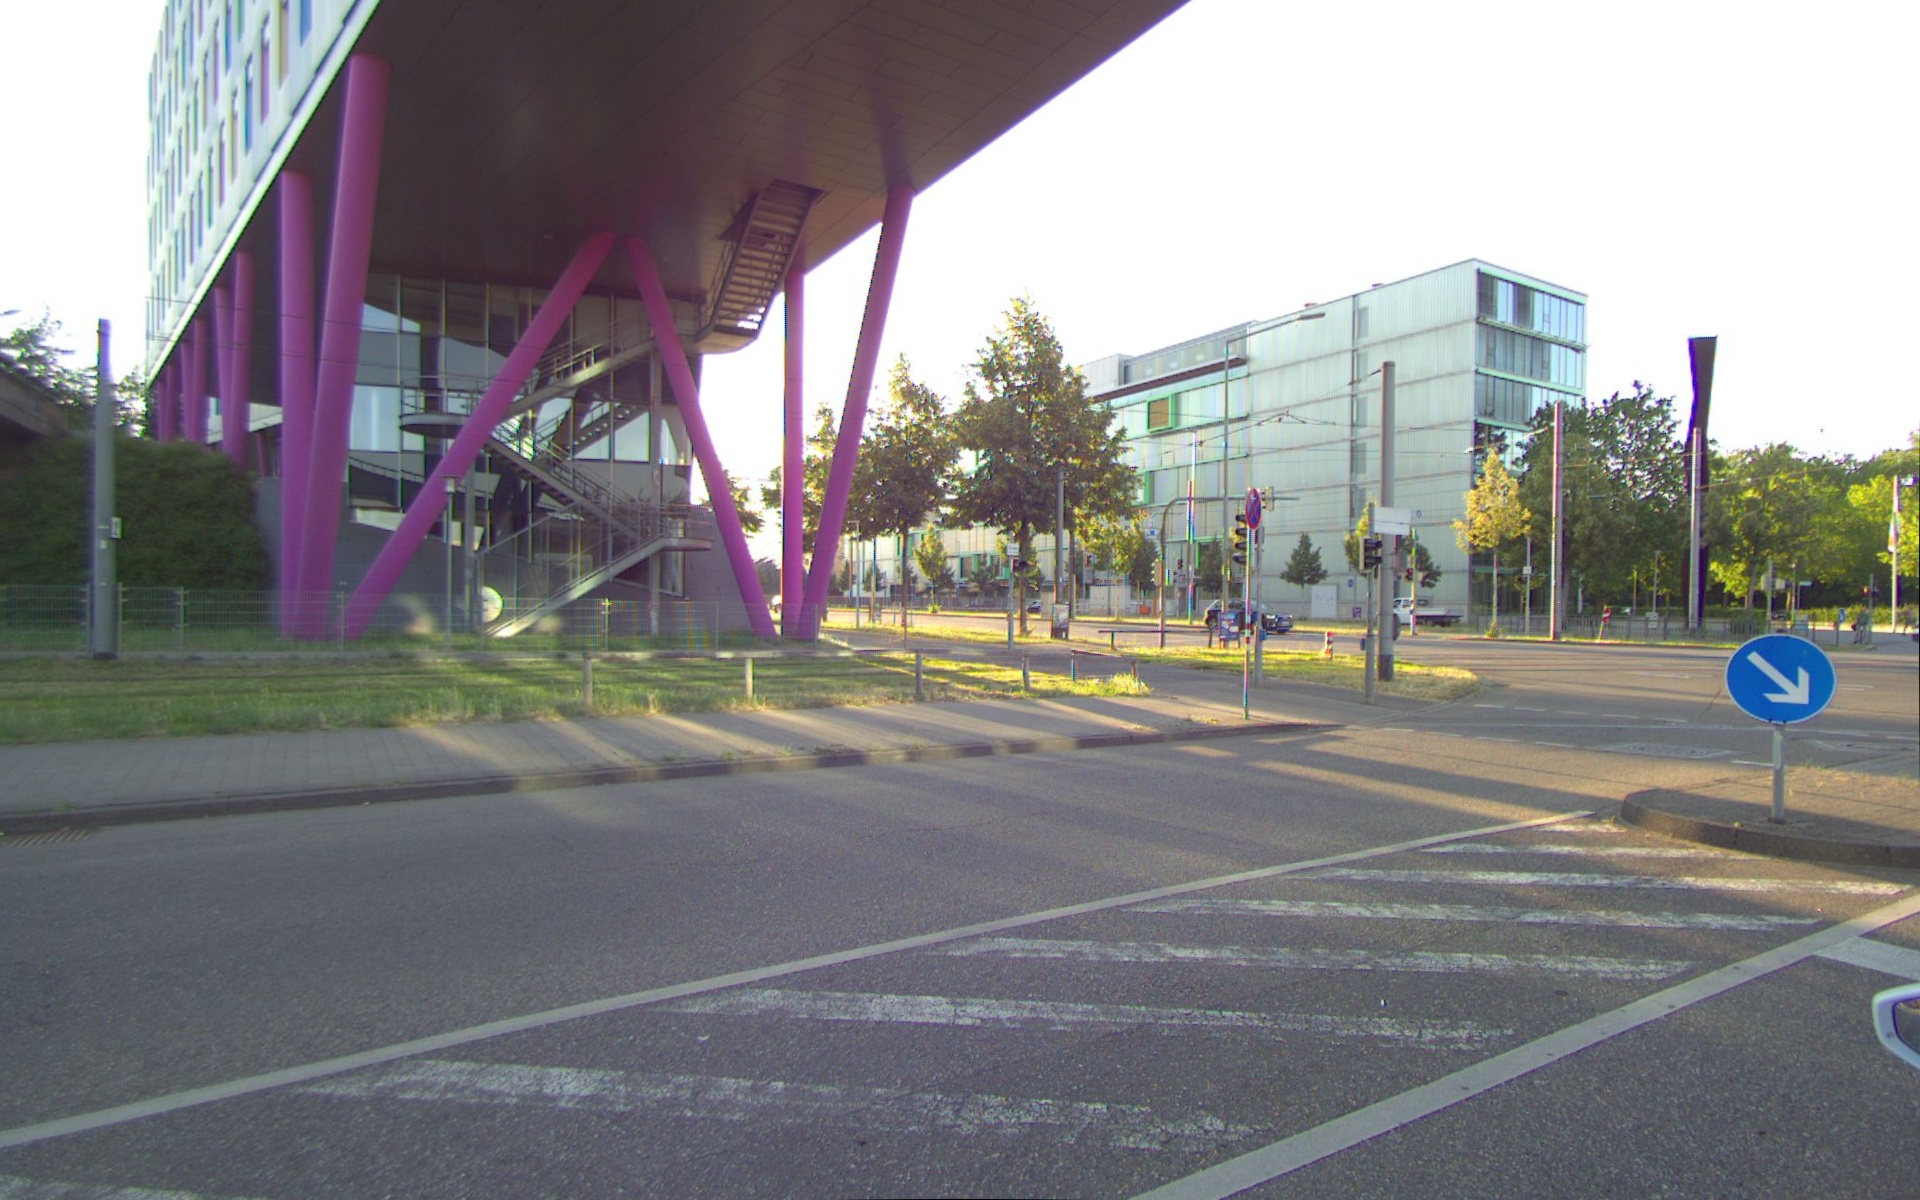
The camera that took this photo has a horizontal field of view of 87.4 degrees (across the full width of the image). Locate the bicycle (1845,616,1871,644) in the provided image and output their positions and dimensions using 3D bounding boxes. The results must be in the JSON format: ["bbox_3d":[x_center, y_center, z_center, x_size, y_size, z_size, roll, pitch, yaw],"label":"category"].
[{"bbox_3d":[45.110,1.502,50.481,0.720,1.359,2.681,1,0,36],"label":"bicycle"}]

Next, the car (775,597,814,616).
[{"bbox_3d":[-14.339,0.560,86.831,1.973,1.572,5.210,2,-1,-24],"label":"car"}]

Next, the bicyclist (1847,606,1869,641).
[{"bbox_3d":[45.095,1.186,50.467,0.741,1.732,0.916,1,0,38],"label":"bicyclist"}]

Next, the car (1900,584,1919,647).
[{"bbox_3d":[43.561,0.719,41.117,2.778,2.671,6.887,2,-1,-29],"label":"car"}]

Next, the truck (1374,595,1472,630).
[{"bbox_3d":[29.779,0.774,64.784,2.044,2.082,5.528,1,0,-31],"label":"truck"}]

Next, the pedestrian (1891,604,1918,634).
[{"bbox_3d":[55.942,1.135,59.491,0.813,1.767,0.863,1,0,16],"label":"pedestrian"}]

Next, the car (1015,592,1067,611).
[{"bbox_3d":[7.097,0.115,88.514,1.977,1.572,5.200,2,-1,-30],"label":"car"}]

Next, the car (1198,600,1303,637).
[{"bbox_3d":[13.289,0.810,46.198,1.968,1.577,4.448,1,0,-34],"label":"car"}]

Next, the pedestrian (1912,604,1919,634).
[{"bbox_3d":[56.987,1.120,59.241,0.813,1.767,0.863,1,0,10],"label":"pedestrian"}]
